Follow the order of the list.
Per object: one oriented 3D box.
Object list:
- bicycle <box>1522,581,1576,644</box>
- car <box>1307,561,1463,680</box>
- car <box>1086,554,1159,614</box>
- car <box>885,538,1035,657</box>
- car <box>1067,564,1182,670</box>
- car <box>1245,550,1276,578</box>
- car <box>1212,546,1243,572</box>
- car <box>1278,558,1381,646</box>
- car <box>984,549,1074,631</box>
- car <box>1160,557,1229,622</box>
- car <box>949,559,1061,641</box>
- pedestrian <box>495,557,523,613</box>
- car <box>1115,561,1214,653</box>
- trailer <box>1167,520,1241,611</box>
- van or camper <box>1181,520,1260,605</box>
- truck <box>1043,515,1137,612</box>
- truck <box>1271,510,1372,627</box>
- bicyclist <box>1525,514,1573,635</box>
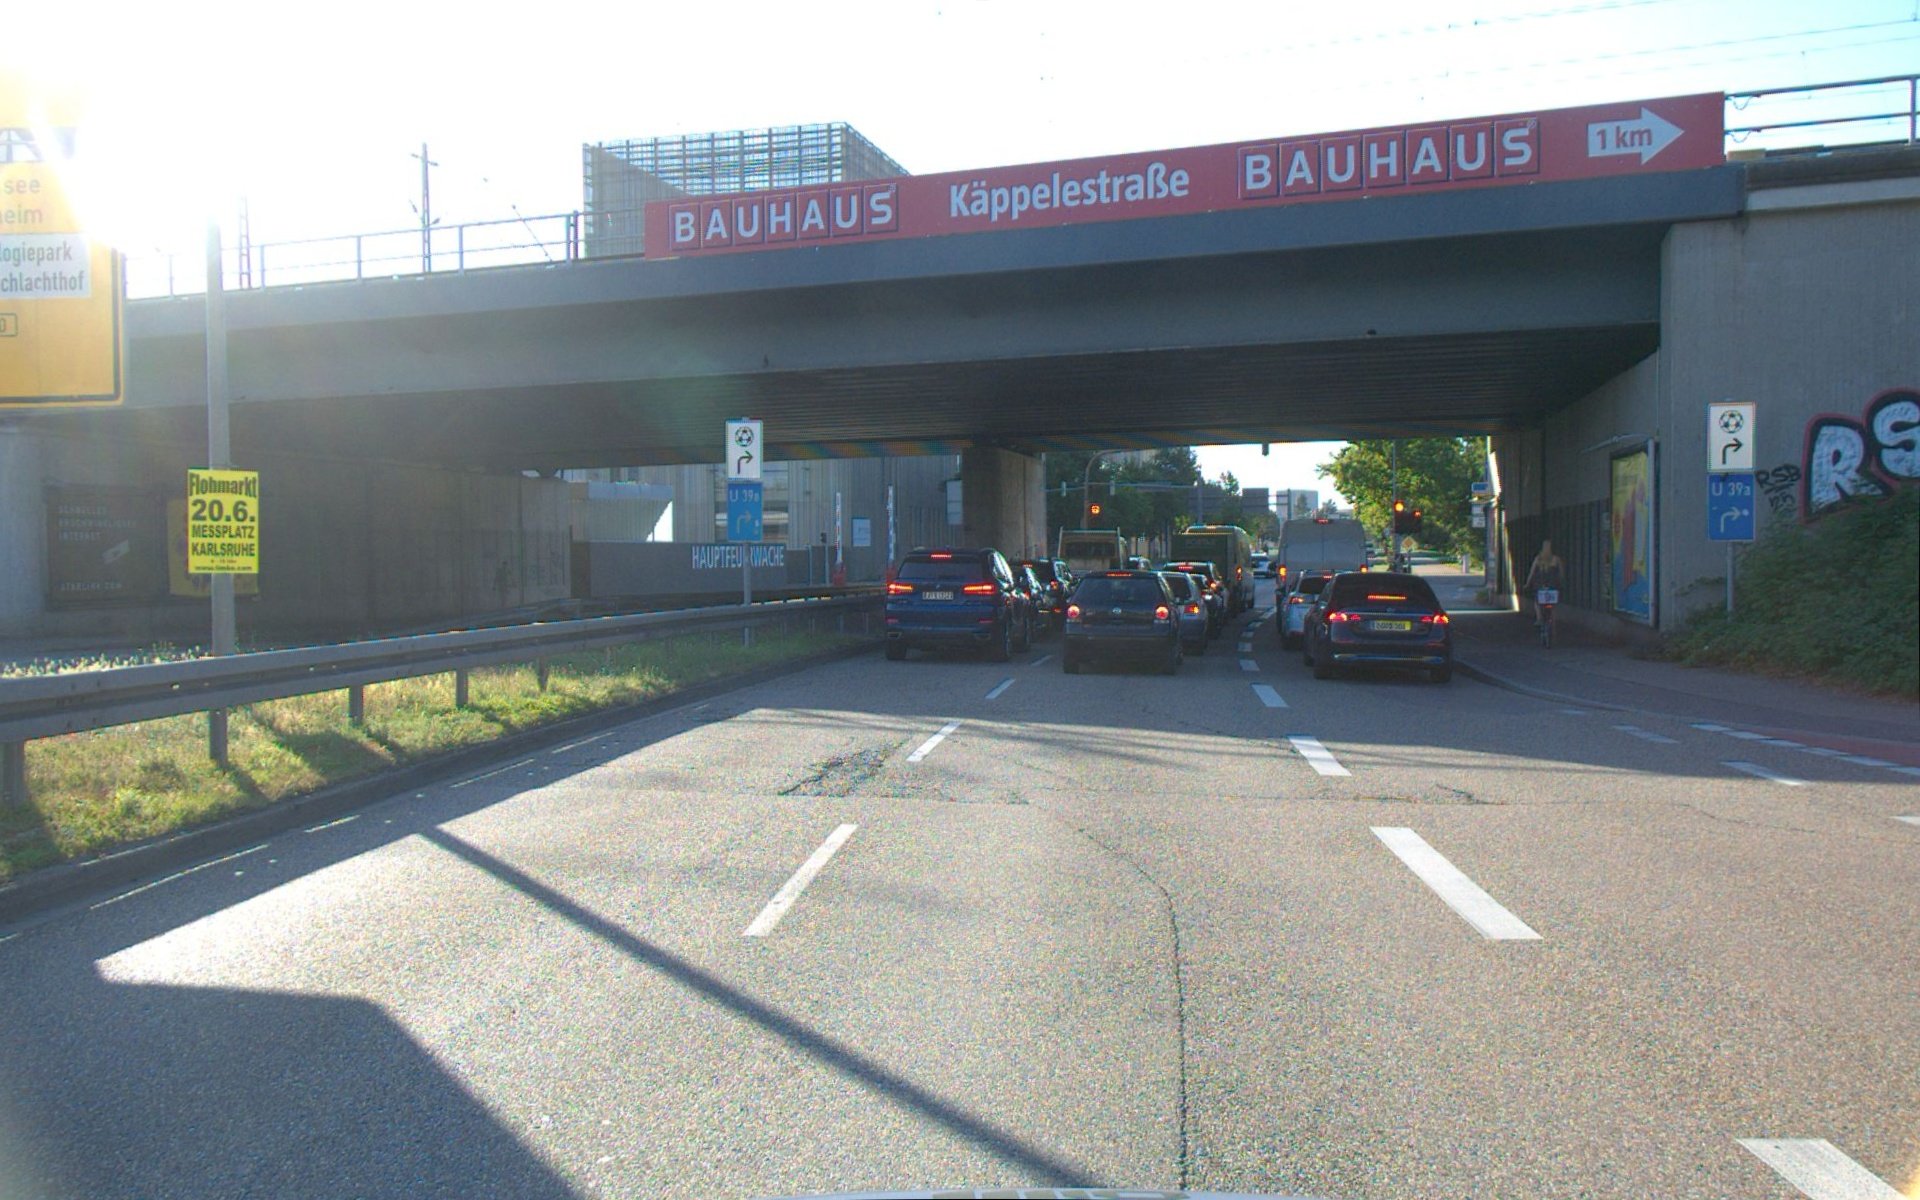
[{"bbox_3d":[9.665,0.184,27.204,0.566,0.980,2.888,0,0,14],"label":"bicycle"},{"bbox_3d":[6.052,0.209,23.974,1.703,1.479,4.610,0,2,8],"label":"car"},{"bbox_3d":[5.535,-0.545,55.900,1.951,1.934,4.004,0,0,13],"label":"car"},{"bbox_3d":[0.095,-0.054,27.013,1.790,1.769,4.465,0,0,9],"label":"car"},{"bbox_3d":[2.476,0.221,24.491,1.548,1.433,3.835,0,0,7],"label":"car"},{"bbox_3d":[18.354,-2.184,100.946,1.762,1.632,4.004,0,0,12],"label":"car"},{"bbox_3d":[17.249,-2.635,106.527,1.762,1.632,3.743,0,0,12],"label":"car"},{"bbox_3d":[6.938,0.025,31.370,1.734,1.521,3.835,-1,0,11],"label":"car"},{"bbox_3d":[1.701,-0.236,39.282,1.802,1.749,4.003,-3,0,6],"label":"car"},{"bbox_3d":[6.023,-0.275,42.187,1.548,1.559,3.835,0,0,11],"label":"car"},{"bbox_3d":[0.972,-0.023,33.507,1.802,1.465,3.678,-3,0,8],"label":"car"},{"bbox_3d":[-15.539,-0.519,57.009,0.679,1.937,0.665,0,0,13],"label":"pedestrian"},{"bbox_3d":[3.685,0.080,29.472,1.514,1.447,3.420,-3,1,10],"label":"car"},{"bbox_3d":[7.177,-0.996,48.369,1.824,2.508,3.835,-1,0,13],"label":"trailer"},{"bbox_3d":[8.542,-1.171,53.852,1.951,2.615,5.922,0,1,15],"label":"van or camper"},{"bbox_3d":[3.770,-0.998,46.933,1.984,2.601,5.542,0,1,12],"label":"truck"},{"bbox_3d":[8.486,-0.729,39.174,2.066,2.563,4.405,-2,0,10],"label":"truck"},{"bbox_3d":[9.632,-0.419,27.069,0.667,1.940,0.834,0,0,14],"label":"bicyclist"}]
